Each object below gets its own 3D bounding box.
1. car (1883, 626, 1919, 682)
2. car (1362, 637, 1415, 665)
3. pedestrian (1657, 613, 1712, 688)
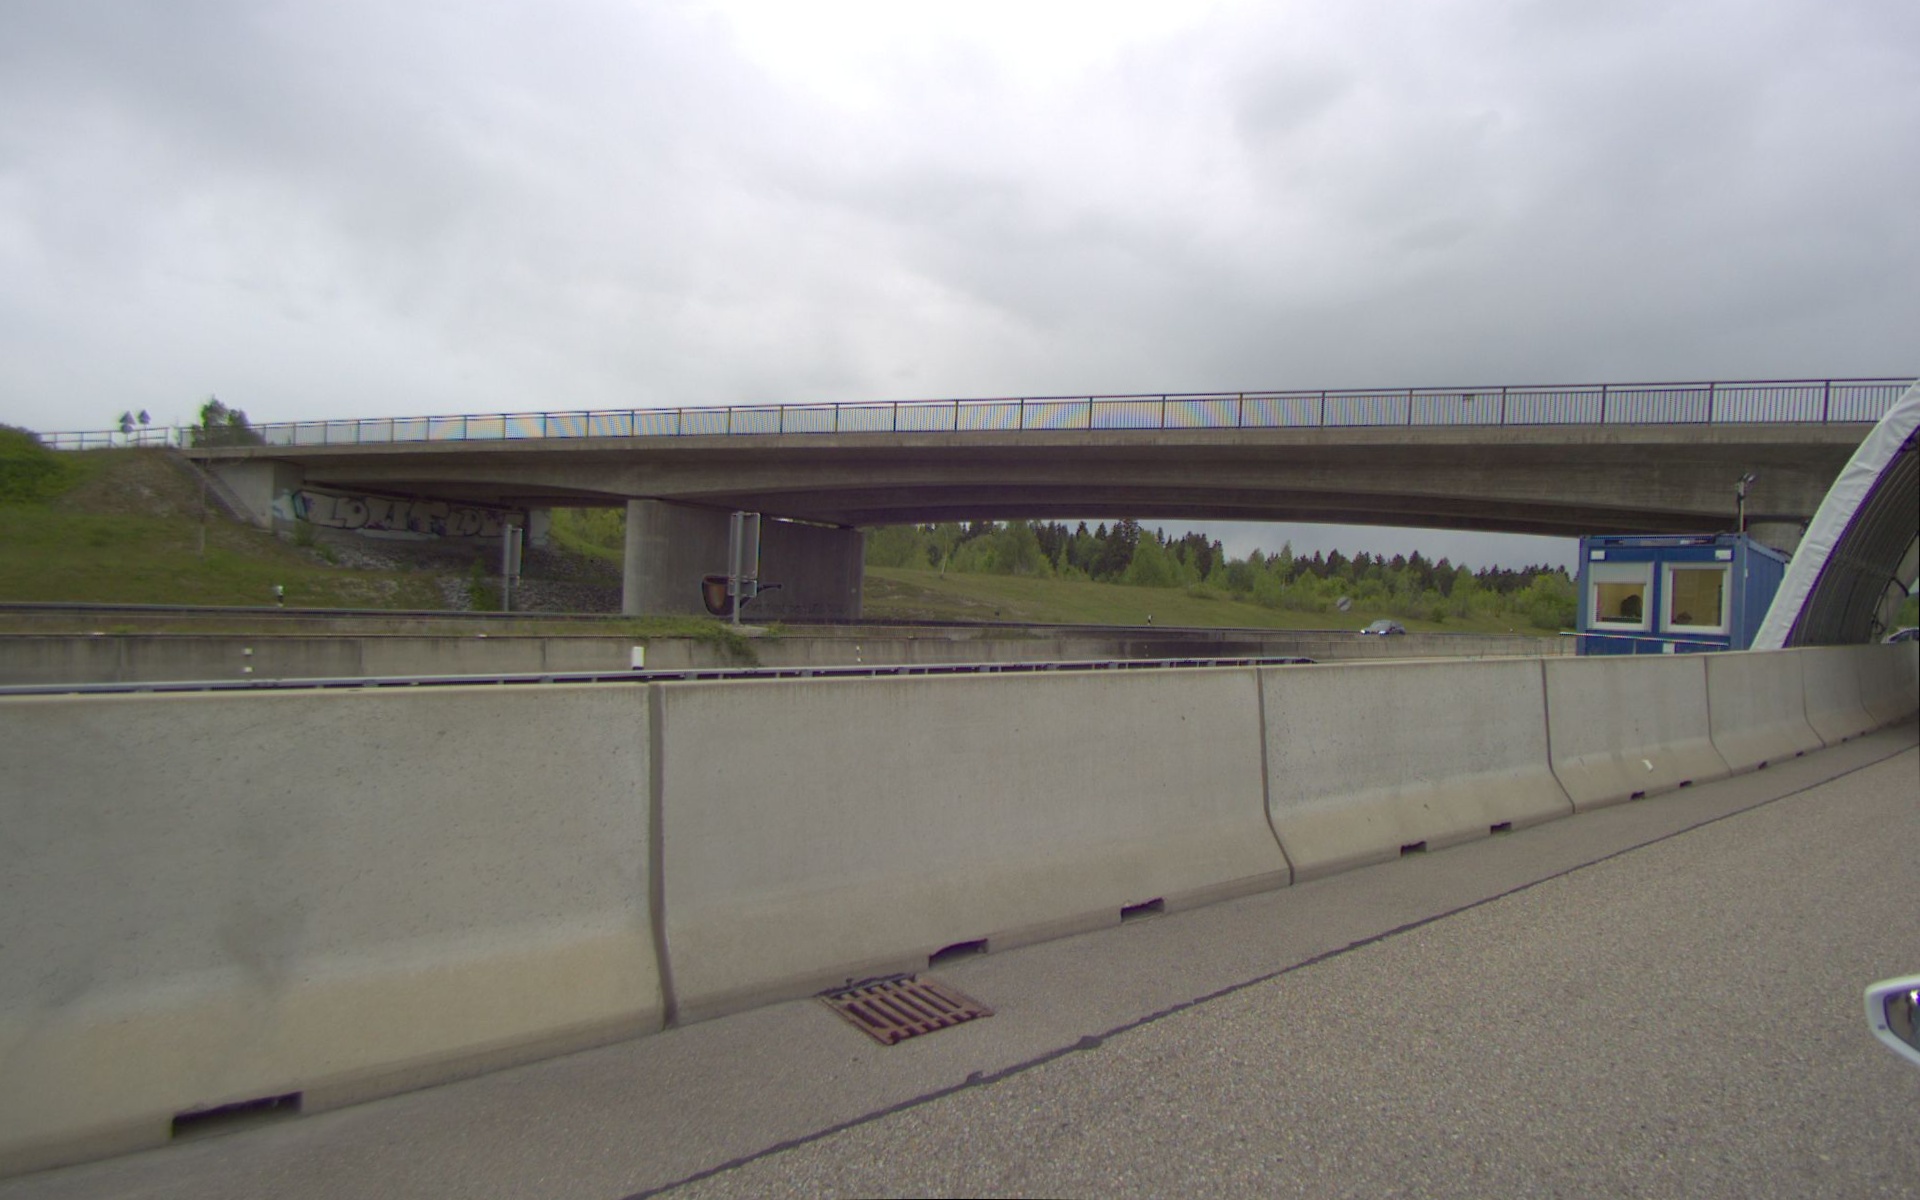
[{"bbox_3d":[36.858,2.026,36.326,1.814,2.040,4.797,2,-1,-22],"label":"car"},{"bbox_3d":[31.756,3.773,74.396,1.964,1.981,5.079,0,-2,44],"label":"car"},{"bbox_3d":[13.642,0.945,18.920,0.618,1.391,0.609,2,-1,-21],"label":"pedestrian"}]
